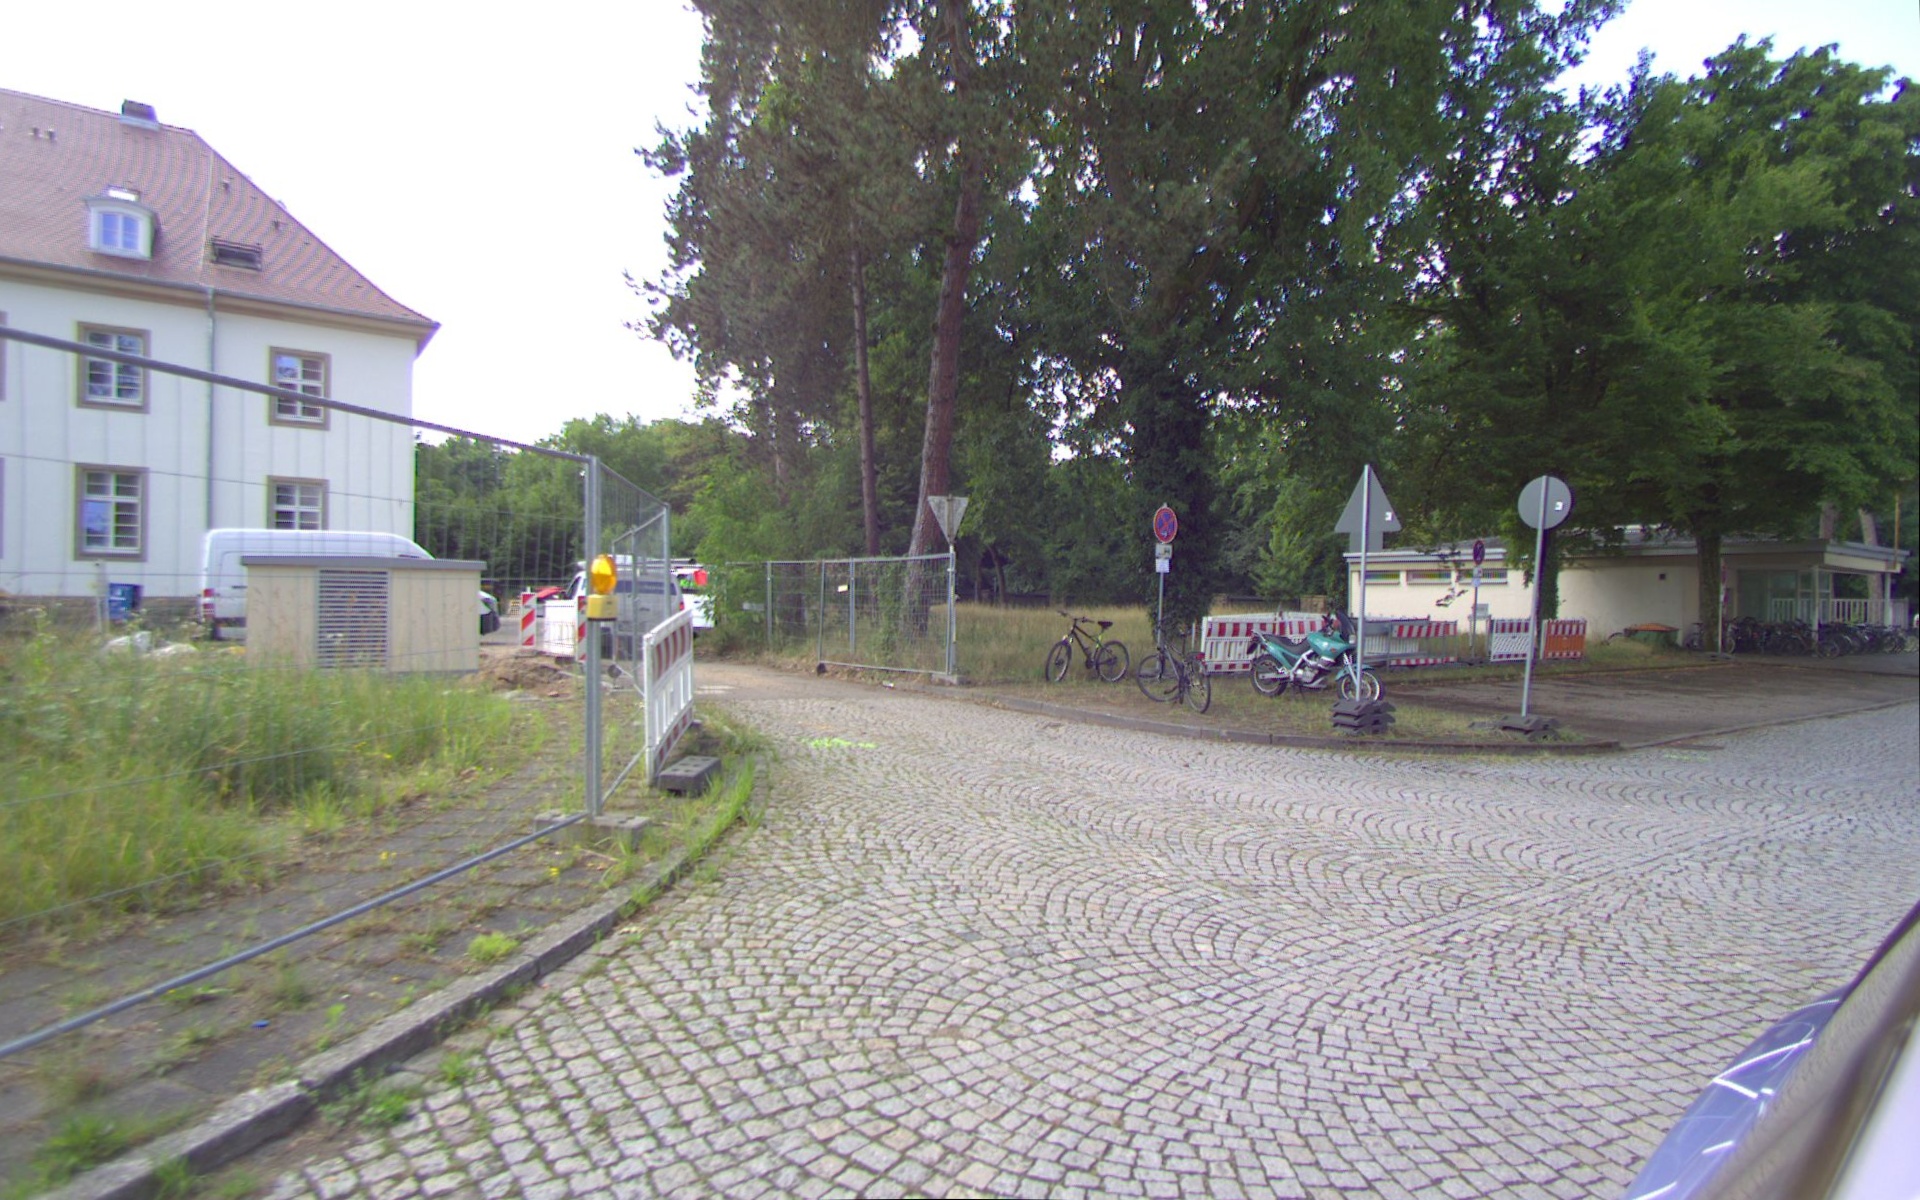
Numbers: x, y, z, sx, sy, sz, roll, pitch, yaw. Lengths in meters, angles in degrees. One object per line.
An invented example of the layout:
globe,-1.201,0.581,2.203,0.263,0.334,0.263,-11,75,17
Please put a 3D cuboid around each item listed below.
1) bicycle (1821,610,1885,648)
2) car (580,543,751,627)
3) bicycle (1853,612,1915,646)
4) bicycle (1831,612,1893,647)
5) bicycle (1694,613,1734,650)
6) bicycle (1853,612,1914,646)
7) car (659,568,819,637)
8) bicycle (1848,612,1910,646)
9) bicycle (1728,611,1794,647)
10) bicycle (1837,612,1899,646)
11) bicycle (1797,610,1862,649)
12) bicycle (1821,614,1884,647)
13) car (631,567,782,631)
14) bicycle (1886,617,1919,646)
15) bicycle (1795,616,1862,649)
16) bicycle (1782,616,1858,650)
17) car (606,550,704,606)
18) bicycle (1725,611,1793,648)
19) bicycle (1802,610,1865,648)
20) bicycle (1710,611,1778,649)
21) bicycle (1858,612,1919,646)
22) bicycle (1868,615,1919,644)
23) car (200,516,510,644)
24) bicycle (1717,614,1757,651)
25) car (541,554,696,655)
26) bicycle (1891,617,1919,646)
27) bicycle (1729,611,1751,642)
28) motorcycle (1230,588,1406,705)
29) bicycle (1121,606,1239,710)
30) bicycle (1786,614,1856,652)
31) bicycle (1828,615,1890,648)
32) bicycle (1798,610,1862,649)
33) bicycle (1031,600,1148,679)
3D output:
bicycle,31.195,1.006,35.384,1.629,1.204,0.491,3,1,42
car,-9.853,-0.432,34.552,1.978,2.611,6.369,-1,-1,24
bicycle,33.767,1.042,36.993,0.320,1.155,1.615,1,1,-43
bicycle,32.434,1.034,36.403,0.320,1.155,1.593,1,1,-43
bicycle,24.589,1.014,33.010,1.605,1.130,0.598,1,1,-37
bicycle,34.078,1.057,37.347,0.350,1.155,1.615,1,1,-43
car,-6.316,0.089,29.504,1.980,1.848,4.828,-1,-1,27
bicycle,33.431,1.041,36.813,0.320,1.155,1.615,1,1,-43
bicycle,28.523,1.027,36.054,0.597,1.179,1.744,1,1,-40
bicycle,32.985,1.036,36.766,0.320,1.155,1.615,1,1,-43
bicycle,29.544,0.985,34.407,1.628,1.204,0.466,3,1,41
bicycle,31.620,1.069,35.882,1.628,1.063,0.329,3,1,40
car,-7.842,-0.010,31.810,1.980,1.848,4.828,-1,-1,27
bicycle,35.708,1.178,37.941,1.393,1.059,0.336,1,0,28
bicycle,29.113,1.085,33.940,1.618,0.988,0.320,3,1,25
bicycle,28.492,1.080,33.545,1.728,0.988,0.752,3,1,25
car,-12.814,-0.831,42.175,2.170,2.122,6.161,0,-1,-34
bicycle,27.904,1.022,35.369,0.597,1.179,1.744,1,1,-40
bicycle,30.359,1.007,35.197,1.629,1.204,0.413,3,1,42
bicycle,27.015,1.019,34.878,0.597,1.179,1.744,1,1,-40
bicycle,34.651,1.060,37.772,0.350,1.155,1.615,1,1,-43
bicycle,35.993,1.128,38.798,1.725,1.059,0.452,1,0,16
car,-13.490,-0.376,22.898,5.796,2.589,2.000,0,-1,-34
bicycle,24.957,1.040,32.511,1.605,1.130,0.598,1,1,-37
car,-7.499,0.082,21.910,1.870,1.945,4.875,2,-1,-35
bicycle,35.444,1.179,37.647,1.145,1.076,0.283,1,0,34
bicycle,28.912,0.966,37.521,0.478,1.089,1.655,3,1,42
motorcycle,5.027,0.604,14.371,0.743,1.504,2.281,1,0,-40
bicycle,2.825,0.707,13.214,0.642,1.212,1.909,1,0,-17
bicycle,27.950,1.064,32.877,1.675,1.122,0.333,3,1,41
bicycle,32.100,1.112,36.147,0.320,1.063,1.593,1,2,-43
bicycle,29.906,1.004,34.798,1.629,1.204,0.413,3,1,42
bicycle,2.088,0.625,16.185,1.868,1.184,0.644,2,0,-34
